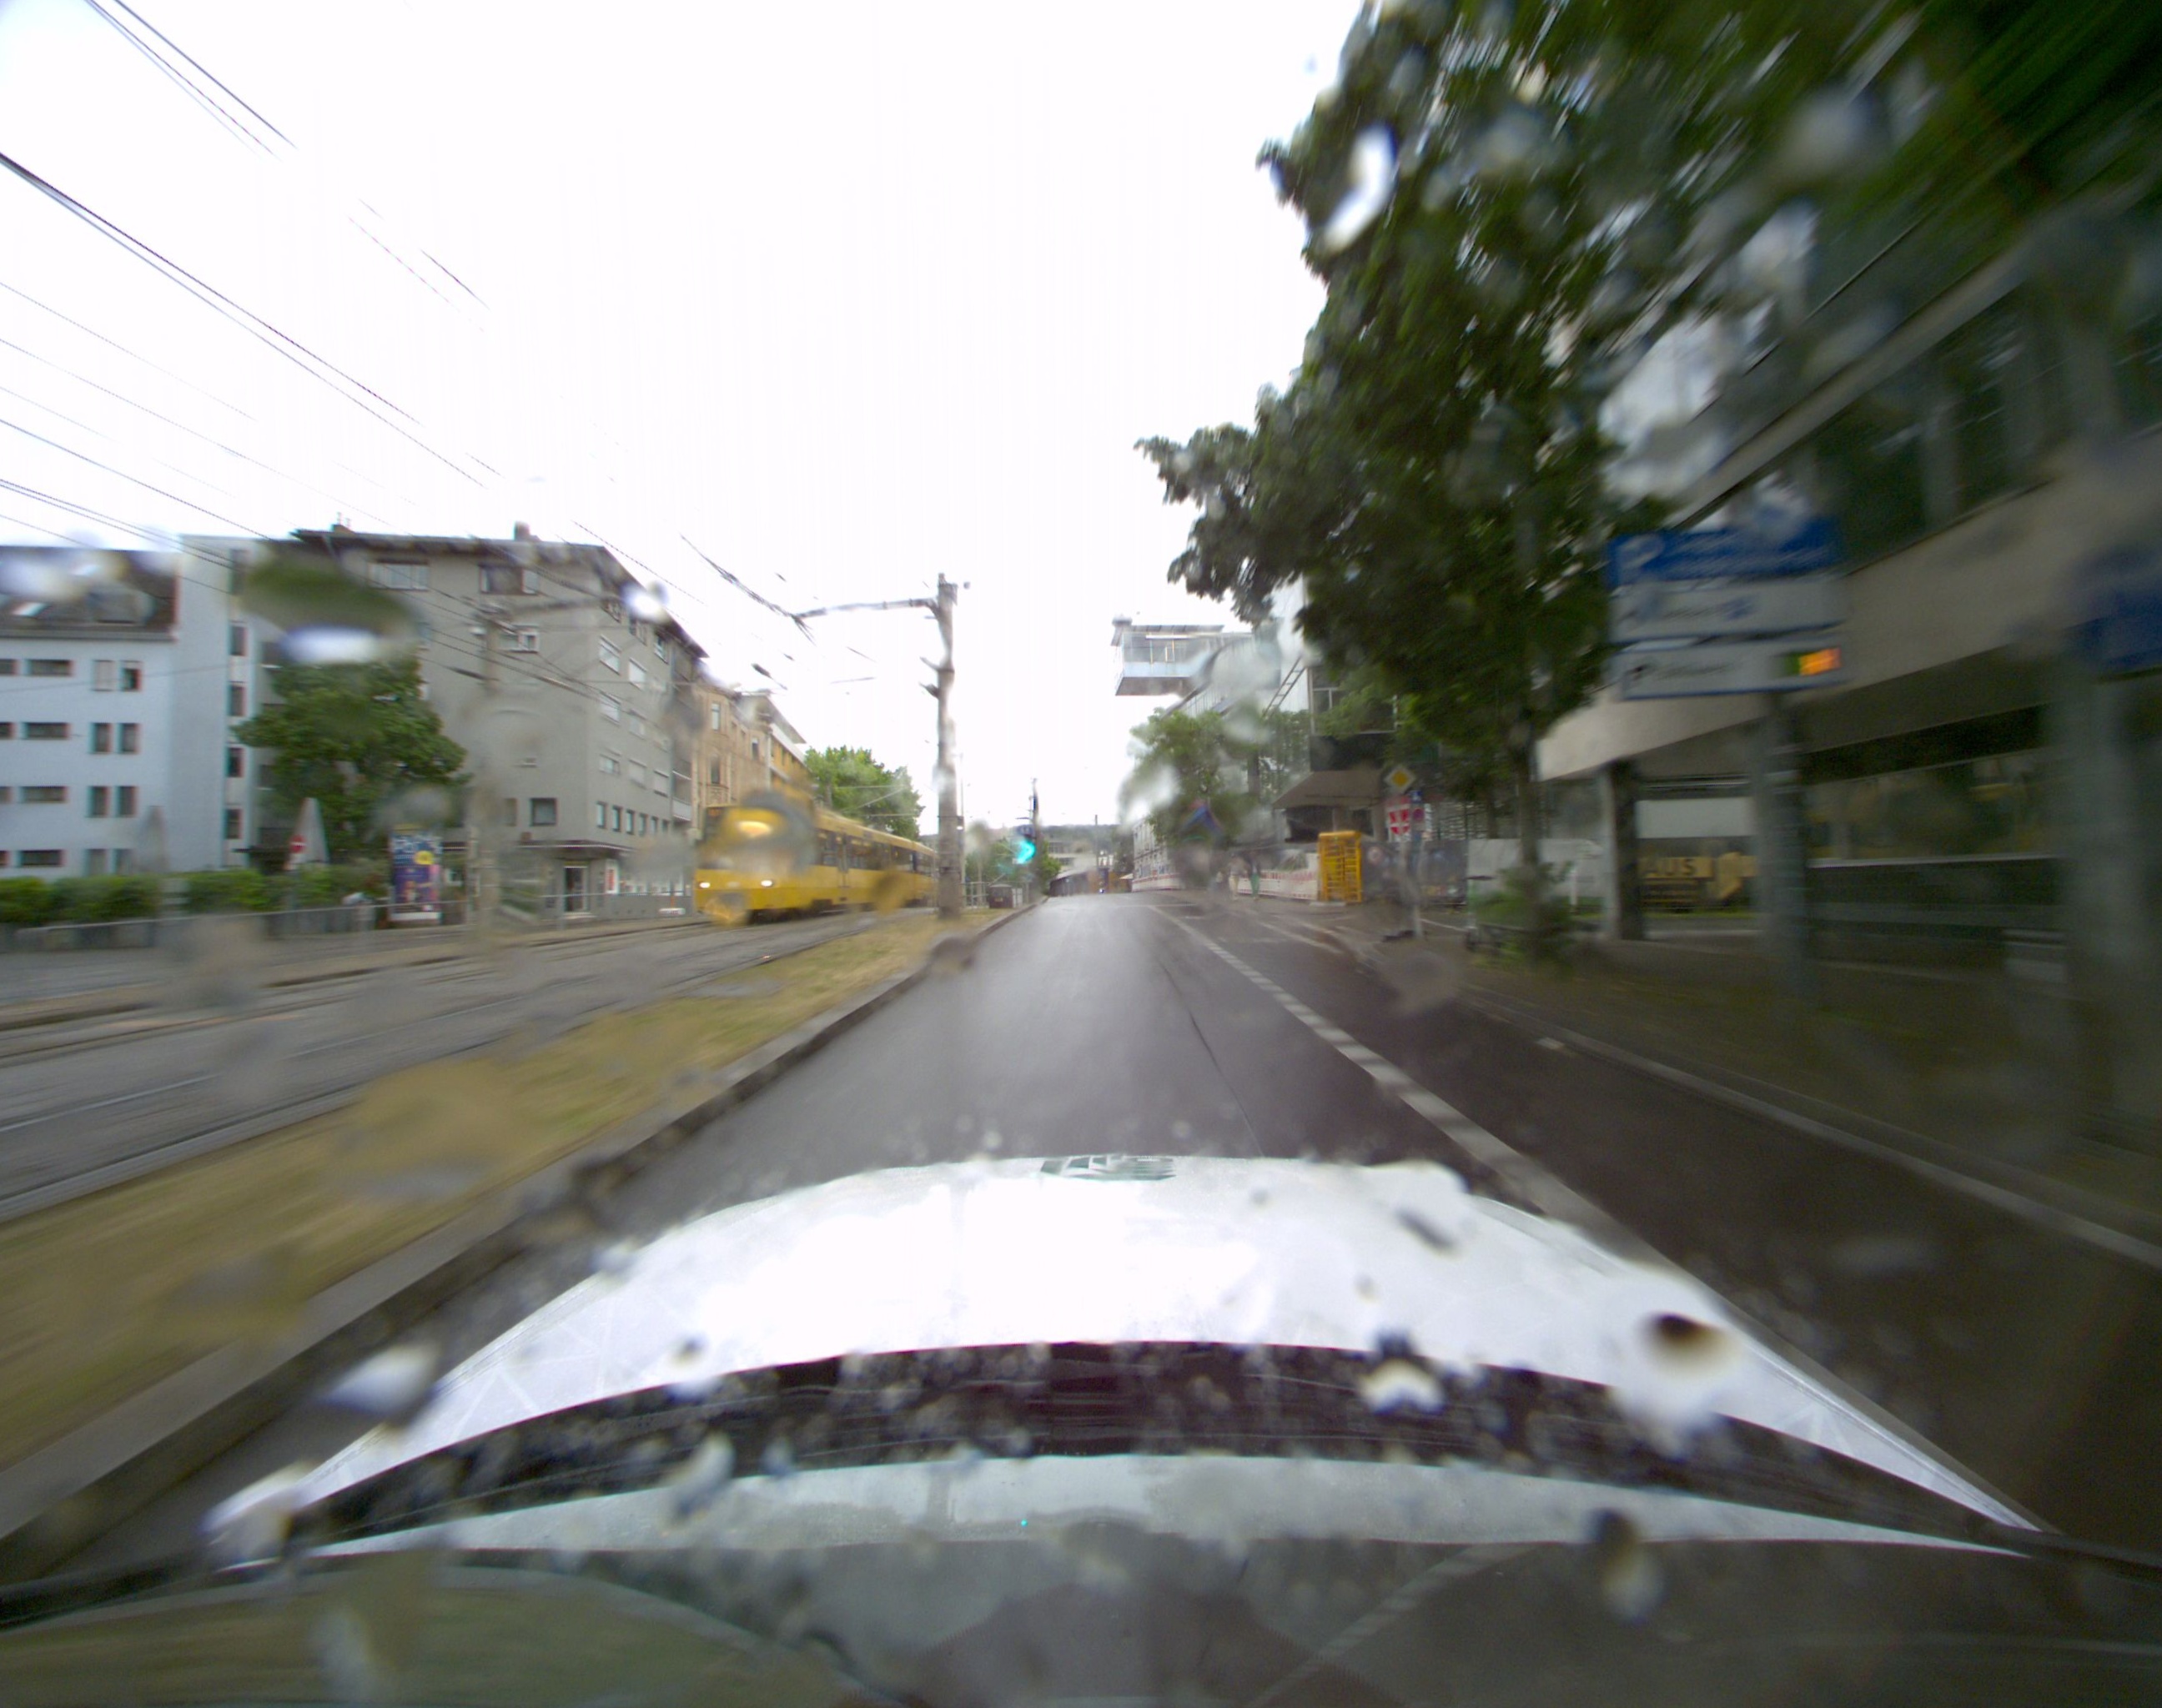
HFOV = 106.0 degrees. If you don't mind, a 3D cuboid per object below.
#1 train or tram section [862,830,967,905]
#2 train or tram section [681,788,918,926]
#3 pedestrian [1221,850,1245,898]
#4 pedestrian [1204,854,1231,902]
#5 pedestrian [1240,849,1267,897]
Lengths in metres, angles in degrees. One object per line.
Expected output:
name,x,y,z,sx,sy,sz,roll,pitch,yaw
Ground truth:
train or tram section,-9.764,0.994,50.763,2.738,3.697,18.961,-1,-2,0
train or tram section,-9.627,0.381,31.800,2.738,3.697,18.961,-1,-2,0
pedestrian,5.884,0.775,31.552,0.698,1.815,0.976,-2,-1,-2
pedestrian,5.082,0.866,30.349,0.735,1.729,1.117,-2,-1,-2
pedestrian,6.635,0.731,31.347,0.698,1.785,1.066,-2,-1,-2
